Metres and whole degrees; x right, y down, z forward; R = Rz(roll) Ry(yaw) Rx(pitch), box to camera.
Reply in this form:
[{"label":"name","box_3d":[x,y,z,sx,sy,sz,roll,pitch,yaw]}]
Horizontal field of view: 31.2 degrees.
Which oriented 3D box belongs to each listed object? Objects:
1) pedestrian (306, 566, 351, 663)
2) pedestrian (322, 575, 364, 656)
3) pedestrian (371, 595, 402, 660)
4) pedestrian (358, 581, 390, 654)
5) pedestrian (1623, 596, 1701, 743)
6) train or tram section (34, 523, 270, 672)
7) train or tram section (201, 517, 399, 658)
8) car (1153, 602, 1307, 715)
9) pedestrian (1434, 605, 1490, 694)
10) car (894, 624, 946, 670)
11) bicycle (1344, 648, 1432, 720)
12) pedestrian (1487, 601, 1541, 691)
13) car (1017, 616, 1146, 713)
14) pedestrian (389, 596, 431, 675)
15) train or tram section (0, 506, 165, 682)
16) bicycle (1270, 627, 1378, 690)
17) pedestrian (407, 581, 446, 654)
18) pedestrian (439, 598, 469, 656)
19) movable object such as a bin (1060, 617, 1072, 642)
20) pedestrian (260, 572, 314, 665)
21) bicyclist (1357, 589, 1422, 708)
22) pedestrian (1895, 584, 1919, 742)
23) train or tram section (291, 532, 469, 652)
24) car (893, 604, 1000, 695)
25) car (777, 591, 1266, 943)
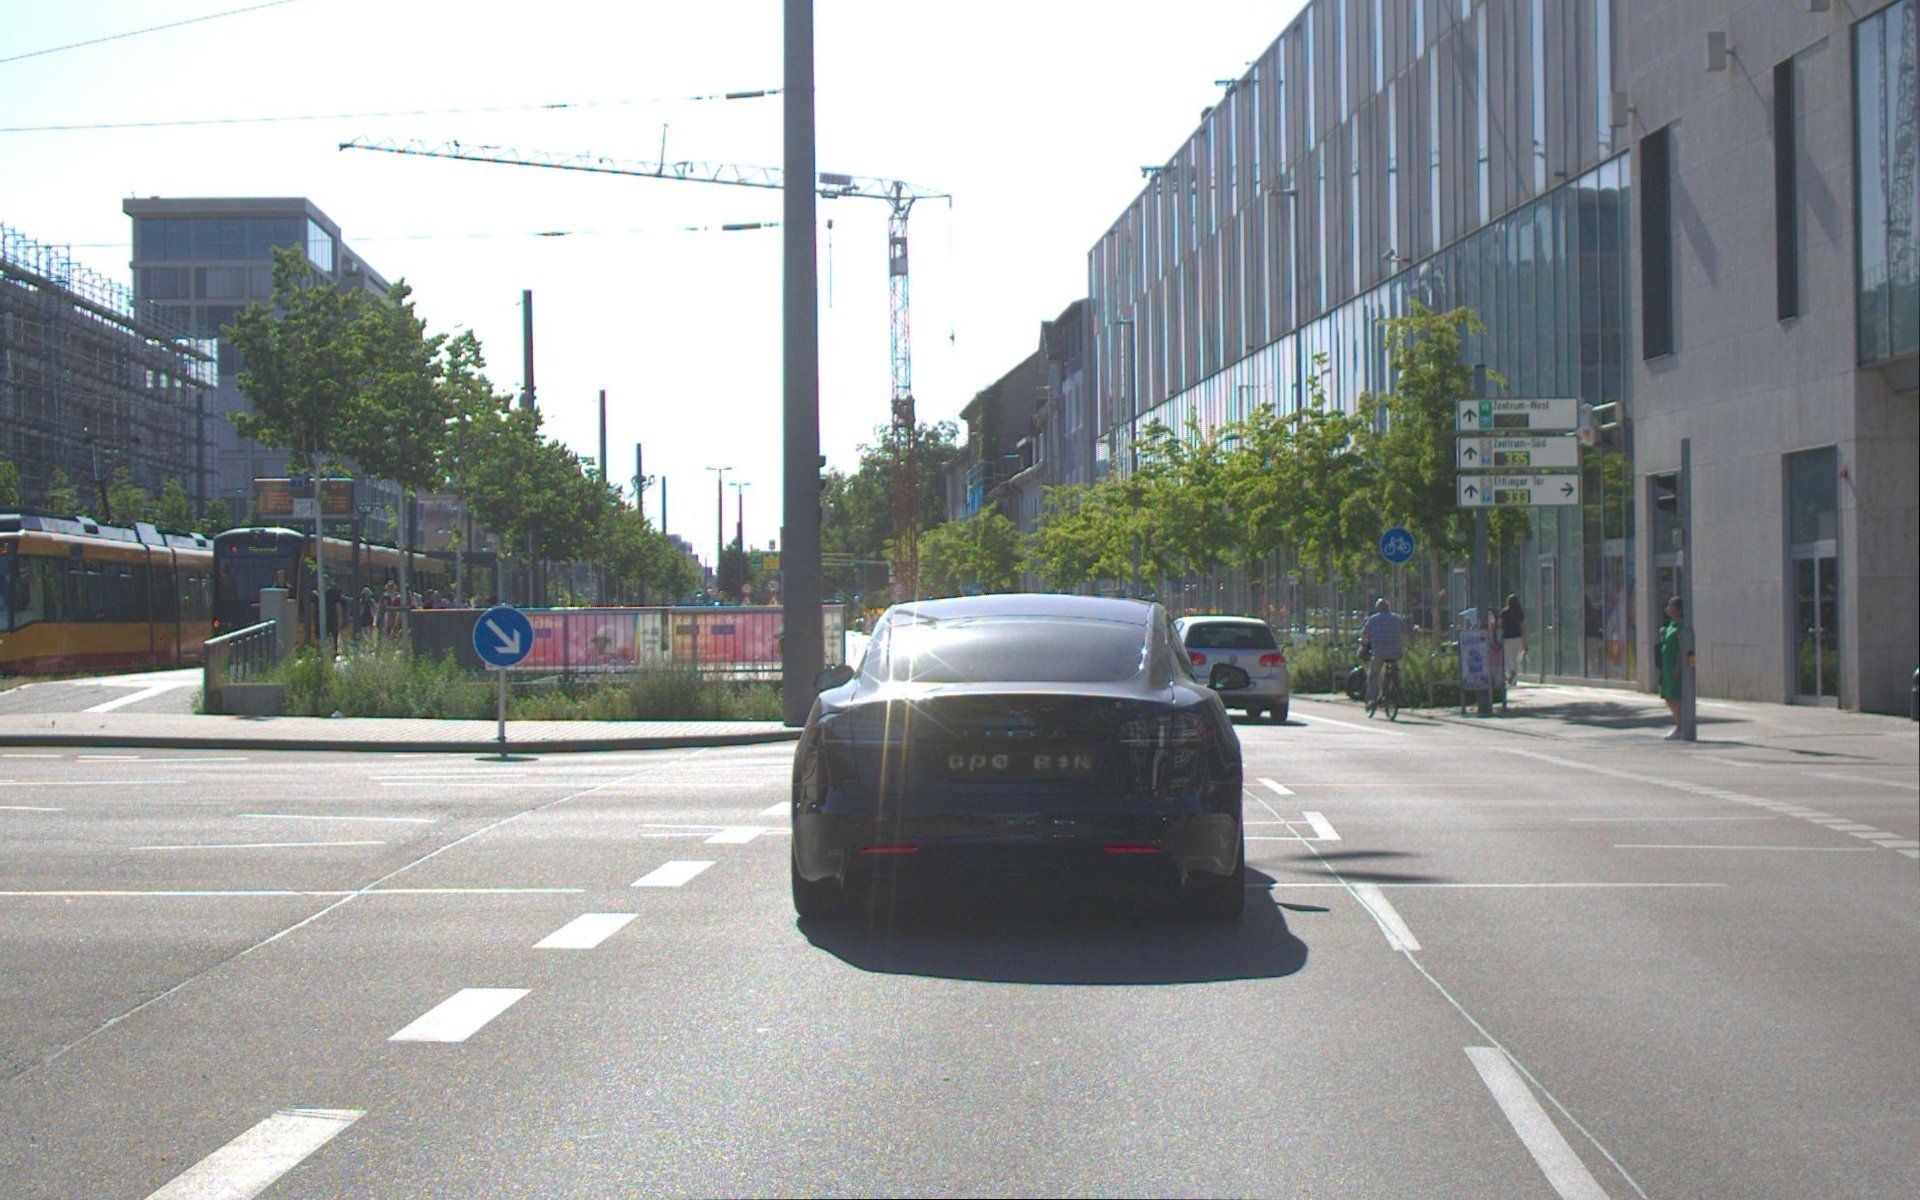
[{"label":"pedestrian","box_3d":[-11.605,0.261,63.202,0.703,1.769,0.959,1,0,-6]},{"label":"pedestrian","box_3d":[-13.689,0.344,76.306,0.791,1.769,0.979,1,0,-6]},{"label":"pedestrian","box_3d":[-13.541,0.641,81.233,0.647,1.507,0.588,1,0,-6]},{"label":"pedestrian","box_3d":[-14.645,0.432,85.890,0.671,1.805,1.075,-1,-1,-4]},{"label":"pedestrian","box_3d":[8.354,0.823,40.925,0.657,1.696,0.698,-3,0,-5]},{"label":"train or tram section","box_3d":[-19.844,-0.032,85.591,2.847,3.310,15.967,1,0,-3]},{"label":"train or tram section","box_3d":[-16.787,-0.267,88.544,2.870,3.268,15.186,1,0,-3]},{"label":"car","box_3d":[3.850,0.812,49.600,1.784,1.541,4.039,0,0,-2]},{"label":"pedestrian","box_3d":[9.404,0.914,64.387,0.820,1.652,0.900,0,0,-7]},{"label":"car","box_3d":[-1.452,1.720,126.381,1.888,1.590,4.000,0,0,0]},{"label":"bicycle","box_3d":[6.286,1.225,50.599,0.728,0.980,2.333,2,-1,-6]},{"label":"pedestrian","box_3d":[10.336,0.856,64.125,0.706,1.652,0.900,-2,0,-7]},{"label":"car","box_3d":[1.860,0.982,53.631,1.716,1.427,4.000,0,0,-2]},{"label":"pedestrian","box_3d":[-11.351,0.726,70.982,0.741,1.623,0.861,0,-1,-2]},{"label":"train or tram section","box_3d":[-19.097,-0.113,71.109,2.870,3.298,13.074,1,0,-3]},{"label":"bicycle","box_3d":[7.277,1.171,68.863,2.086,1.201,0.950,-2,-1,4]},{"label":"pedestrian","box_3d":[-13.726,0.449,88.396,0.887,1.844,1.007,0,-1,-3]},{"label":"pedestrian","box_3d":[-14.342,0.759,97.522,0.741,1.623,0.861,0,-1,-2]},{"label":"movable object such as a bin","box_3d":[4.929,1.389,160.092,0.558,1.165,0.562,1,-1,1]},{"label":"pedestrian","box_3d":[-12.946,0.348,66.199,0.874,1.769,1.189,1,0,-6]},{"label":"bicyclist","box_3d":[6.302,0.711,50.492,0.724,1.731,0.998,-1,-1,-6]},{"label":"pedestrian","box_3d":[11.231,0.706,39.194,0.728,1.795,1.066,-2,0,-3]},{"label":"train or tram section","box_3d":[-17.788,-0.185,107.175,2.870,3.268,22.145,1,0,-3]},{"label":"car","box_3d":[-0.248,0.876,62.838,1.888,1.590,4.000,0,0,0]},{"label":"car","box_3d":[0.197,0.694,16.332,1.999,1.429,4.412,0,0,-1]}]
